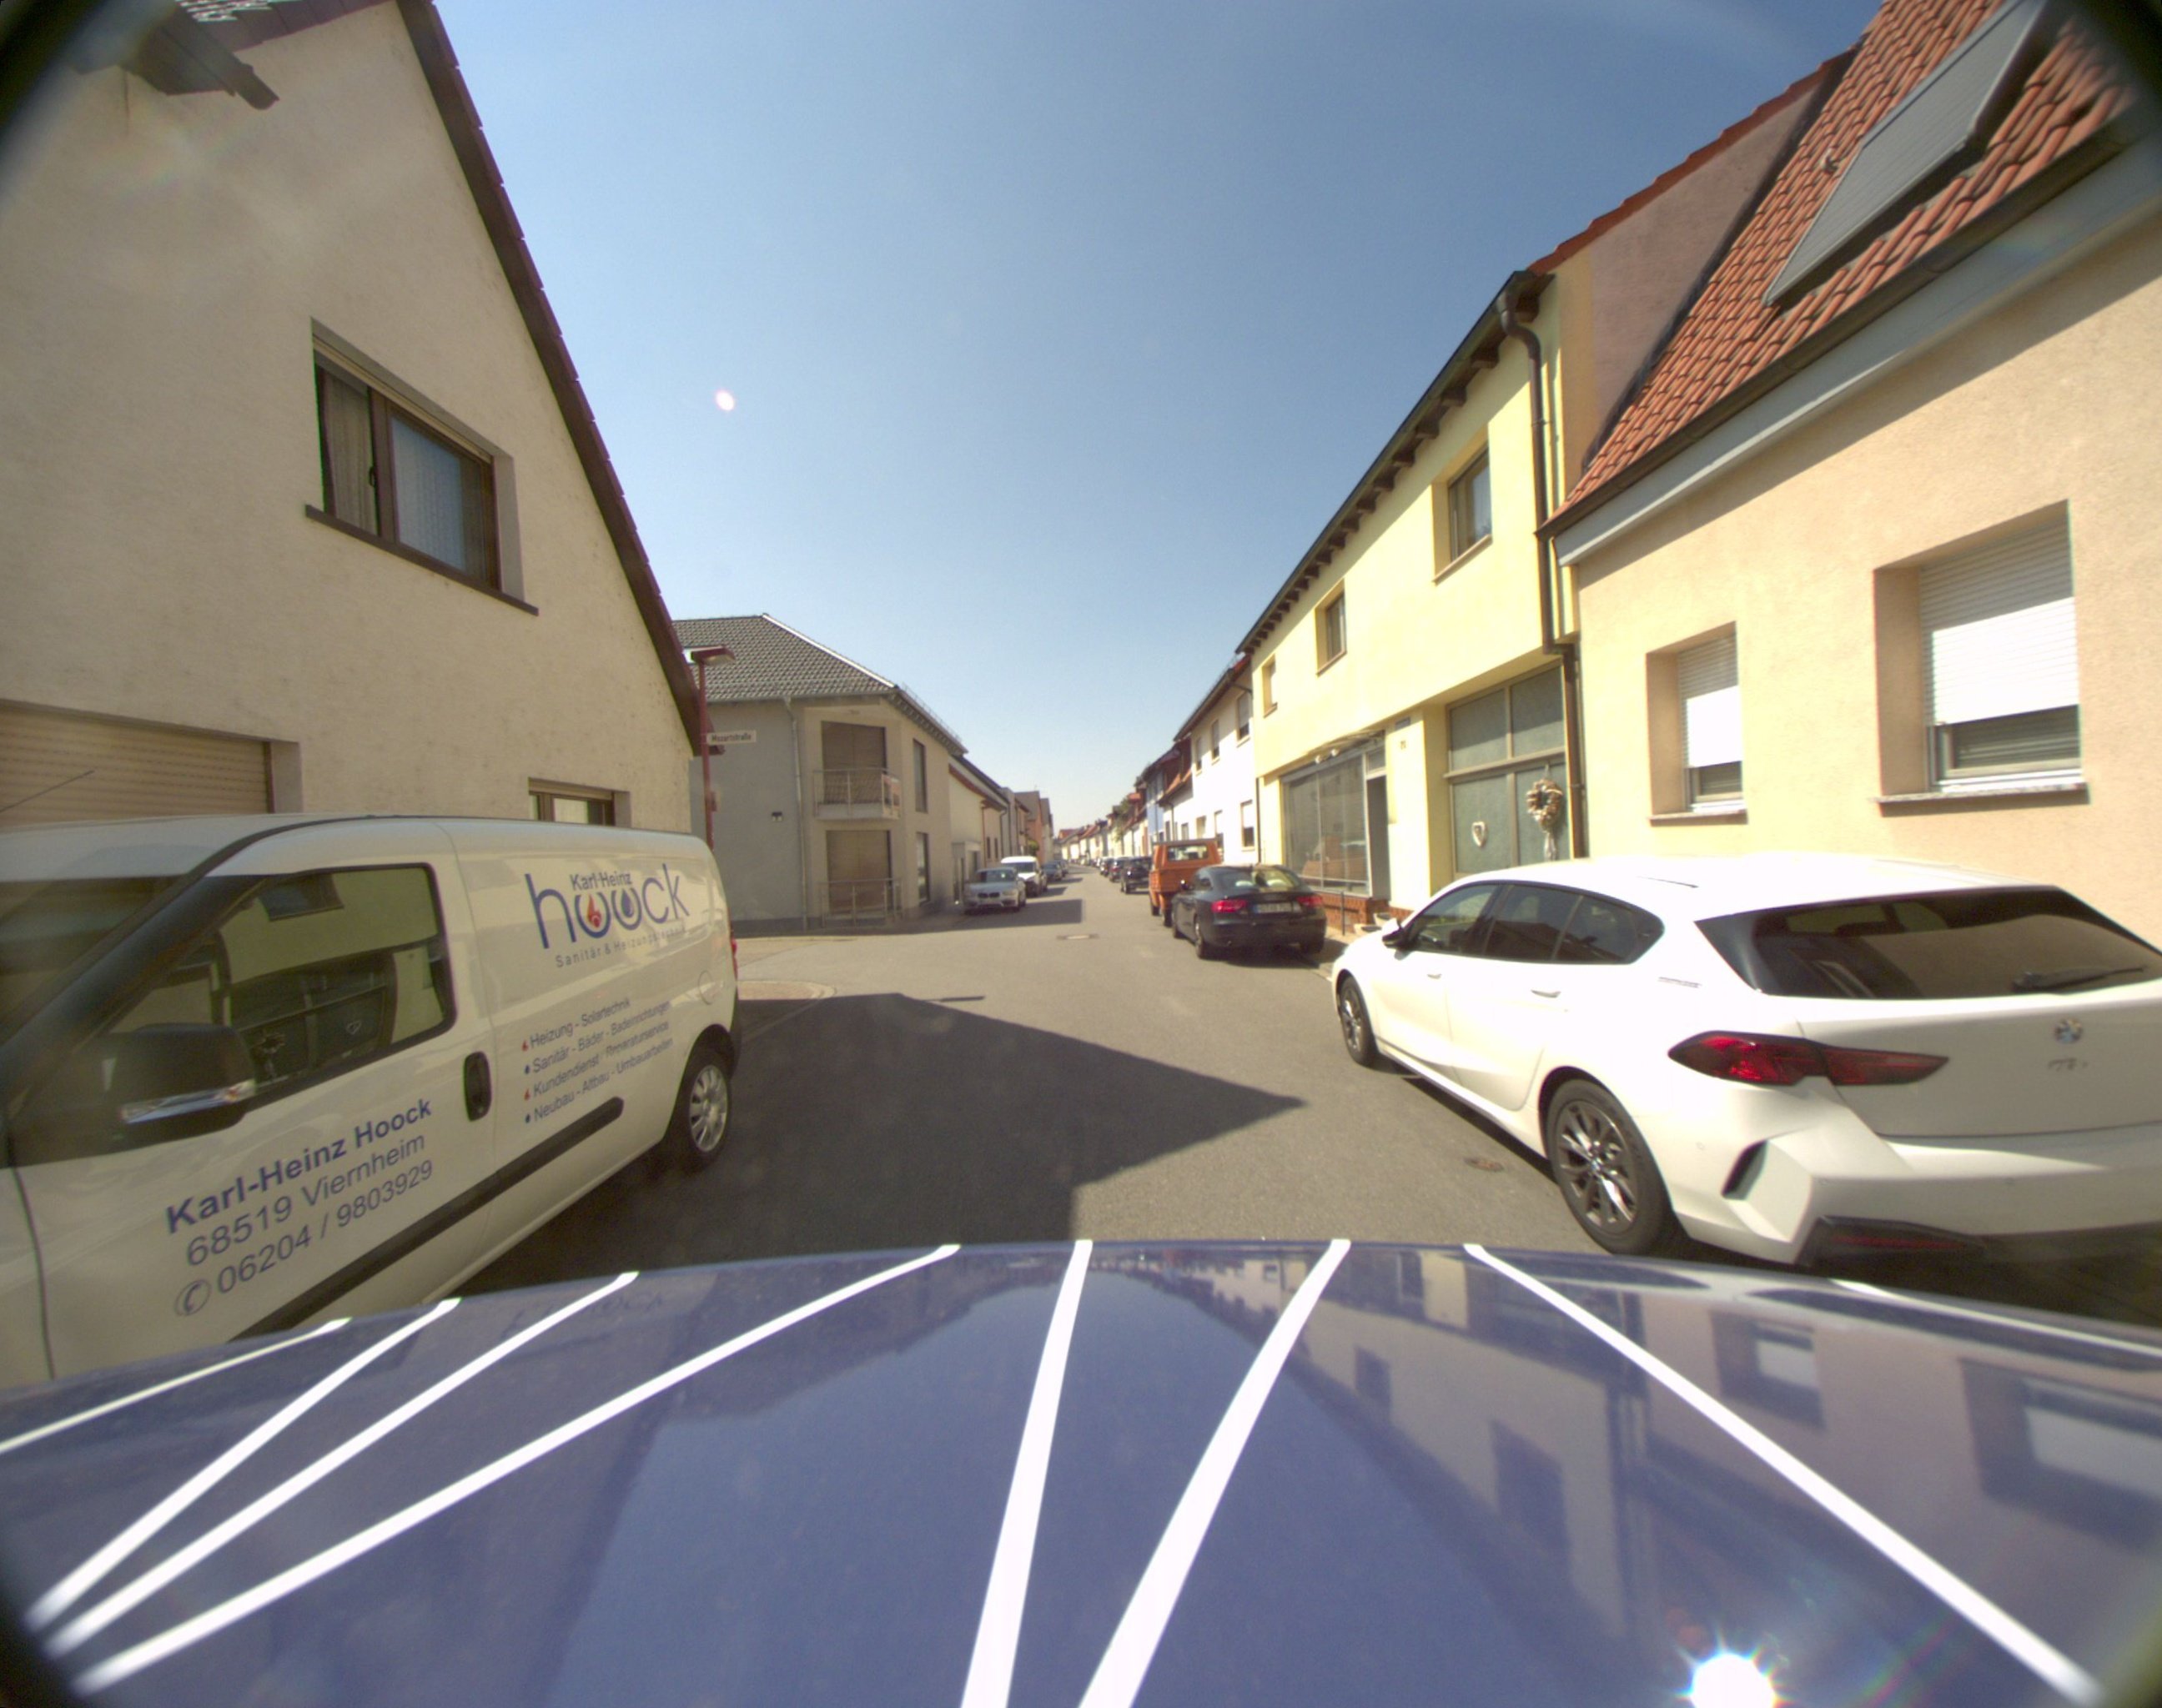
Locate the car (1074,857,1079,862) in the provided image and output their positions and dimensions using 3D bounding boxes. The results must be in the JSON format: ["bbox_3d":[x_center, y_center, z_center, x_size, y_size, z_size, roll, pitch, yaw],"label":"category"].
[{"bbox_3d":[-1.107,1.521,201.060,1.295,1.177,2.963,-2,0,0],"label":"car"}]

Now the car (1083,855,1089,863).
[{"bbox_3d":[1.164,1.203,179.278,1.295,1.683,2.963,-2,0,-1],"label":"car"}]

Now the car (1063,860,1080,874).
[{"bbox_3d":[-1.078,1.422,85.574,1.849,1.523,3.549,-2,0,-1],"label":"car"}]

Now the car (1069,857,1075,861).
[{"bbox_3d":[-2.730,1.410,230.186,1.296,1.177,2.962,-2,0,-7],"label":"car"}]

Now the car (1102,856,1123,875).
[{"bbox_3d":[2.777,1.036,67.334,1.677,1.565,4.108,-2,0,0],"label":"car"}]

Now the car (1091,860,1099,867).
[{"bbox_3d":[2.354,1.670,130.366,1.295,1.177,2.963,-2,0,0],"label":"car"}]

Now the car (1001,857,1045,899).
[{"bbox_3d":[-2.548,1.020,34.046,1.684,1.719,3.786,-2,0,-1],"label":"car"}]

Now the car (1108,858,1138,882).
[{"bbox_3d":[2.751,1.036,50.618,1.724,1.493,4.215,-2,0,0],"label":"car"}]

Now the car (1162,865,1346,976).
[{"bbox_3d":[2.573,0.938,12.559,1.927,1.386,4.631,1,0,-1],"label":"car"}]

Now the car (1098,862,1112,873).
[{"bbox_3d":[2.331,1.302,74.263,1.295,1.070,2.764,-2,0,0],"label":"car"}]

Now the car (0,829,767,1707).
[{"bbox_3d":[-2.840,0.920,2.252,1.815,1.814,4.849,-4,1,-2],"label":"car"}]

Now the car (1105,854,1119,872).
[{"bbox_3d":[3.332,0.969,82.102,1.295,1.820,2.963,-2,0,0],"label":"car"}]

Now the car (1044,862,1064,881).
[{"bbox_3d":[-2.171,1.356,61.306,1.521,1.417,3.863,-2,0,-1],"label":"car"}]

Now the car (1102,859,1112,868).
[{"bbox_3d":[3.527,1.230,103.659,1.295,1.177,2.963,-2,0,0],"label":"car"}]

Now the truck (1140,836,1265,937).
[{"bbox_3d":[2.691,0.648,18.123,2.188,2.002,5.080,-2,0,1],"label":"truck"}]

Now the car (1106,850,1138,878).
[{"bbox_3d":[3.133,0.744,58.764,1.999,2.002,3.997,-2,2,-3],"label":"car"}]

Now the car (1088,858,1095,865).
[{"bbox_3d":[2.166,1.512,153.091,1.295,1.177,2.963,-2,0,0],"label":"car"}]

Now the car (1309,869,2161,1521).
[{"bbox_3d":[2.698,0.889,3.966,1.787,1.445,4.215,-2,0,1],"label":"car"}]

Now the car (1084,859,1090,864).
[{"bbox_3d":[1.258,1.643,169.766,1.295,1.177,2.963,-2,0,0],"label":"car"}]

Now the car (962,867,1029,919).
[{"bbox_3d":[-2.715,1.210,24.979,1.638,1.360,3.927,-4,0,0],"label":"car"}]

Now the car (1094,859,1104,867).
[{"bbox_3d":[2.719,1.392,115.078,1.295,1.177,2.963,-2,0,0],"label":"car"}]

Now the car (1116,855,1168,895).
[{"bbox_3d":[2.590,0.884,33.311,1.849,1.604,4.000,-2,0,-1],"label":"car"}]
